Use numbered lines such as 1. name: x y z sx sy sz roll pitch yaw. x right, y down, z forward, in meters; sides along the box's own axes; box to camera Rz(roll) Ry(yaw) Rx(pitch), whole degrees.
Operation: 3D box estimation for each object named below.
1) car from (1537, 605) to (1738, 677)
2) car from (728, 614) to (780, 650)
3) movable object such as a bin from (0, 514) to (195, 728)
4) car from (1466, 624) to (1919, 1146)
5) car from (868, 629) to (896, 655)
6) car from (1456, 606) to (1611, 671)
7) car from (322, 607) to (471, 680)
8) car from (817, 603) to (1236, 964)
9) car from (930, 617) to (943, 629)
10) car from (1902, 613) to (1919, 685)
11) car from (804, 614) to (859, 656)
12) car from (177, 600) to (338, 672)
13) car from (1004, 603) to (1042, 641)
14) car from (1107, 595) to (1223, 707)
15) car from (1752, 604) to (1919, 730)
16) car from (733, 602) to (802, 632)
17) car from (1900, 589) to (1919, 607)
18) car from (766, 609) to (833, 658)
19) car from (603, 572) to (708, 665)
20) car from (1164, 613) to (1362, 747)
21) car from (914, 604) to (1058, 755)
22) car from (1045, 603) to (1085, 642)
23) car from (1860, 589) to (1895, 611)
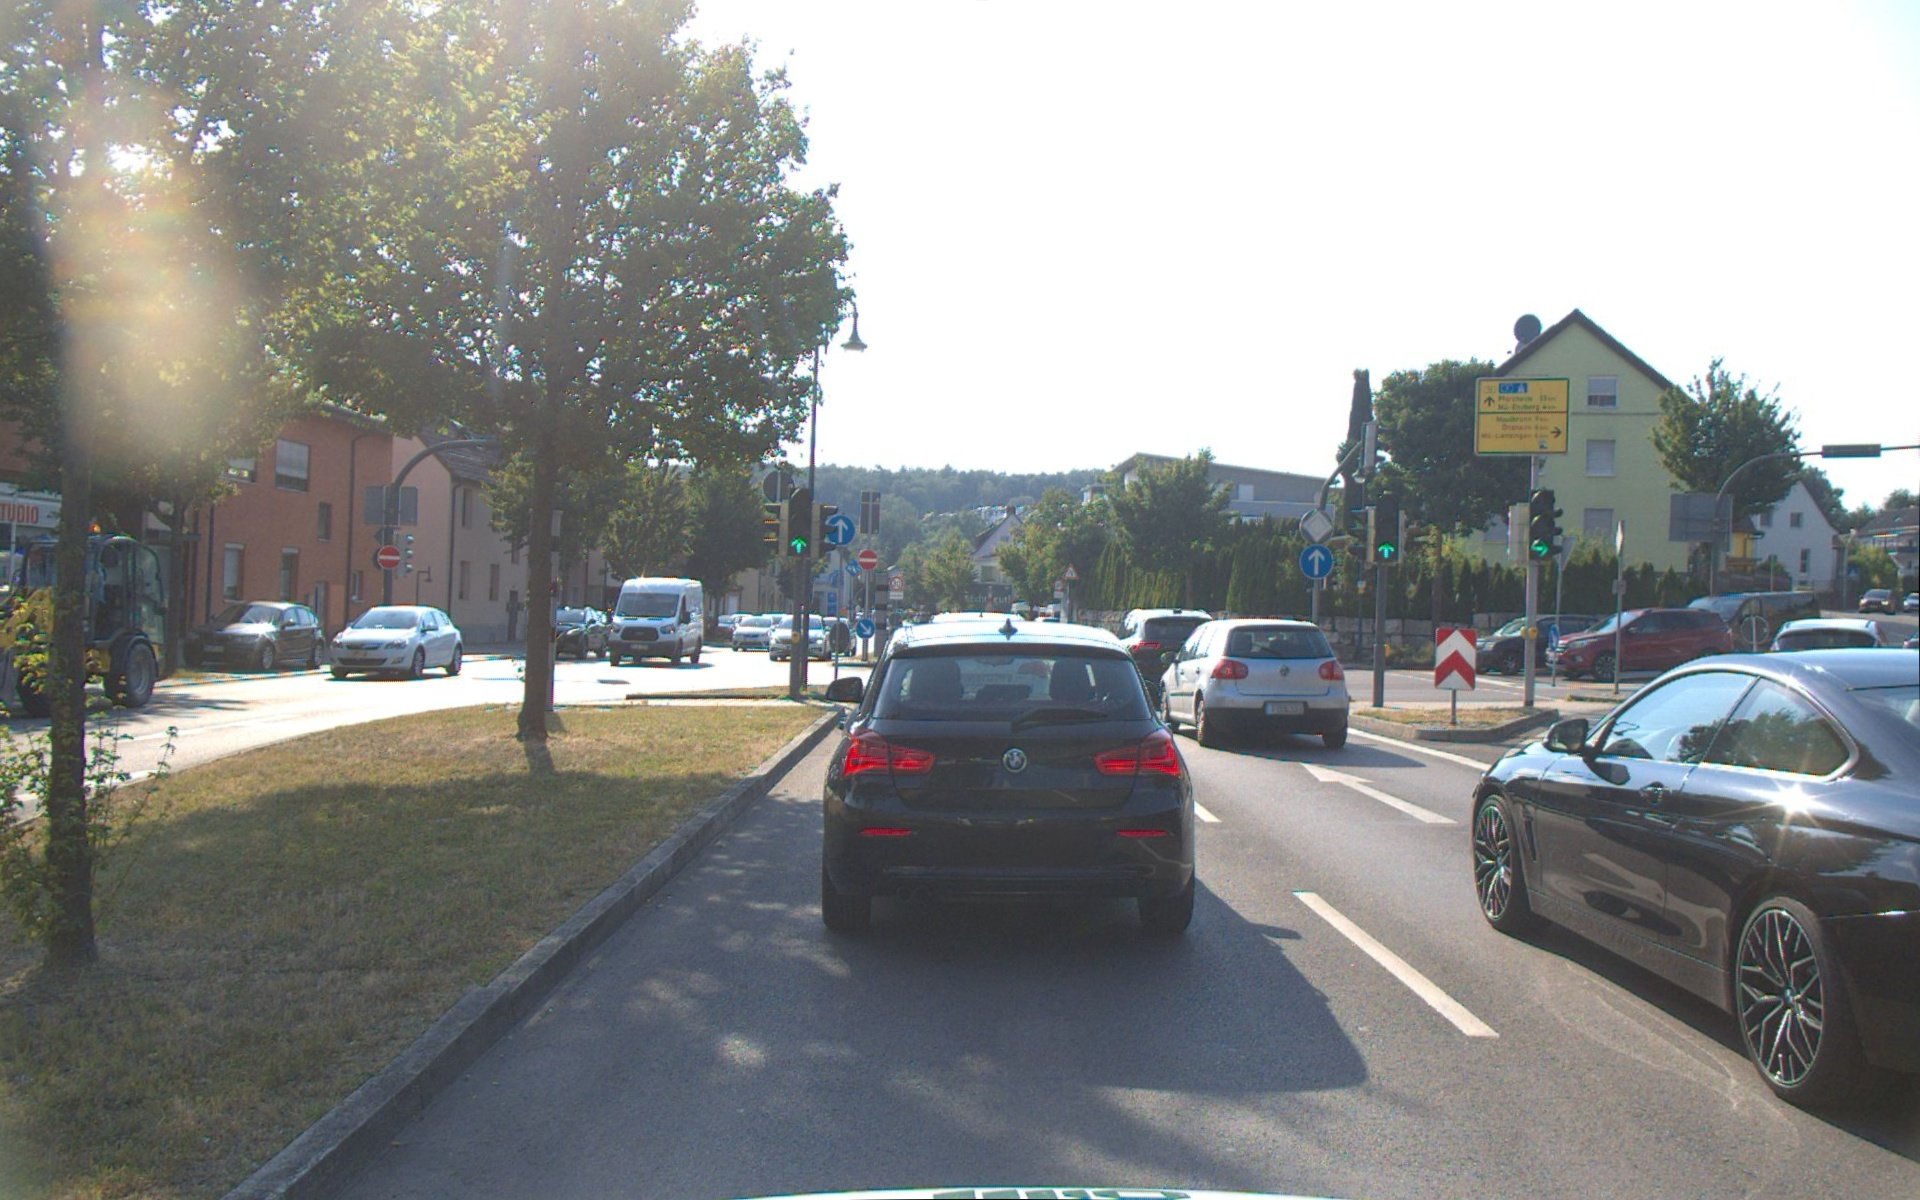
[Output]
1. car: 16.437 0.986 40.236 4.157 1.654 1.860 1 0 -6
2. car: -8.733 1.339 70.390 1.721 1.436 3.999 1 0 -1
3. movable object such as a bin: -11.968 0.253 21.576 1.520 2.505 4.978 1 0 1
4. car: 3.443 0.816 6.266 1.665 1.393 4.261 0 0 -1
5. car: -4.861 2.601 103.242 1.500 1.488 3.506 1 0 1
6. car: 14.891 0.985 43.112 3.707 1.569 1.599 1 0 17
7. car: -11.908 0.877 35.216 1.656 1.439 4.214 1 0 1
8. car: 0.258 0.781 8.737 1.735 1.482 3.515 1 0 -1
9. car: -3.045 2.976 216.506 1.565 1.511 3.472 2 0 -3
10. car: 19.958 0.970 33.041 1.779 1.368 3.989 1 0 33
11. car: -4.614 1.243 59.713 1.556 1.452 3.578 1 -1 2
12. car: -15.312 0.748 36.260 1.759 1.439 3.941 1 0 1
13. car: 4.612 1.576 122.010 2.107 2.727 6.598 1 0 -3
14. car: 3.502 0.846 28.722 1.570 1.798 3.410 1 0 0
15. car: 12.034 0.851 22.599 1.828 1.520 3.991 1 0 31
16. car: -17.584 1.546 151.214 6.035 2.487 2.248 2 -1 -2
17. car: 76.559 -0.160 132.635 1.779 1.368 3.989 1 0 33
18. car: -5.243 1.082 54.531 1.797 1.514 4.565 1 0 -1
19. car: -8.793 0.523 48.213 2.042 2.519 5.478 1 0 0
20. car: 3.579 0.905 20.106 1.718 1.439 3.421 1 0 -1
21. car: 0.260 0.880 20.093 1.559 1.628 3.892 1 0 -1
22. car: 7.738 1.619 122.479 2.069 2.769 6.438 1 0 -4
23. car: 60.912 0.028 109.735 1.779 1.368 3.989 1 0 33
